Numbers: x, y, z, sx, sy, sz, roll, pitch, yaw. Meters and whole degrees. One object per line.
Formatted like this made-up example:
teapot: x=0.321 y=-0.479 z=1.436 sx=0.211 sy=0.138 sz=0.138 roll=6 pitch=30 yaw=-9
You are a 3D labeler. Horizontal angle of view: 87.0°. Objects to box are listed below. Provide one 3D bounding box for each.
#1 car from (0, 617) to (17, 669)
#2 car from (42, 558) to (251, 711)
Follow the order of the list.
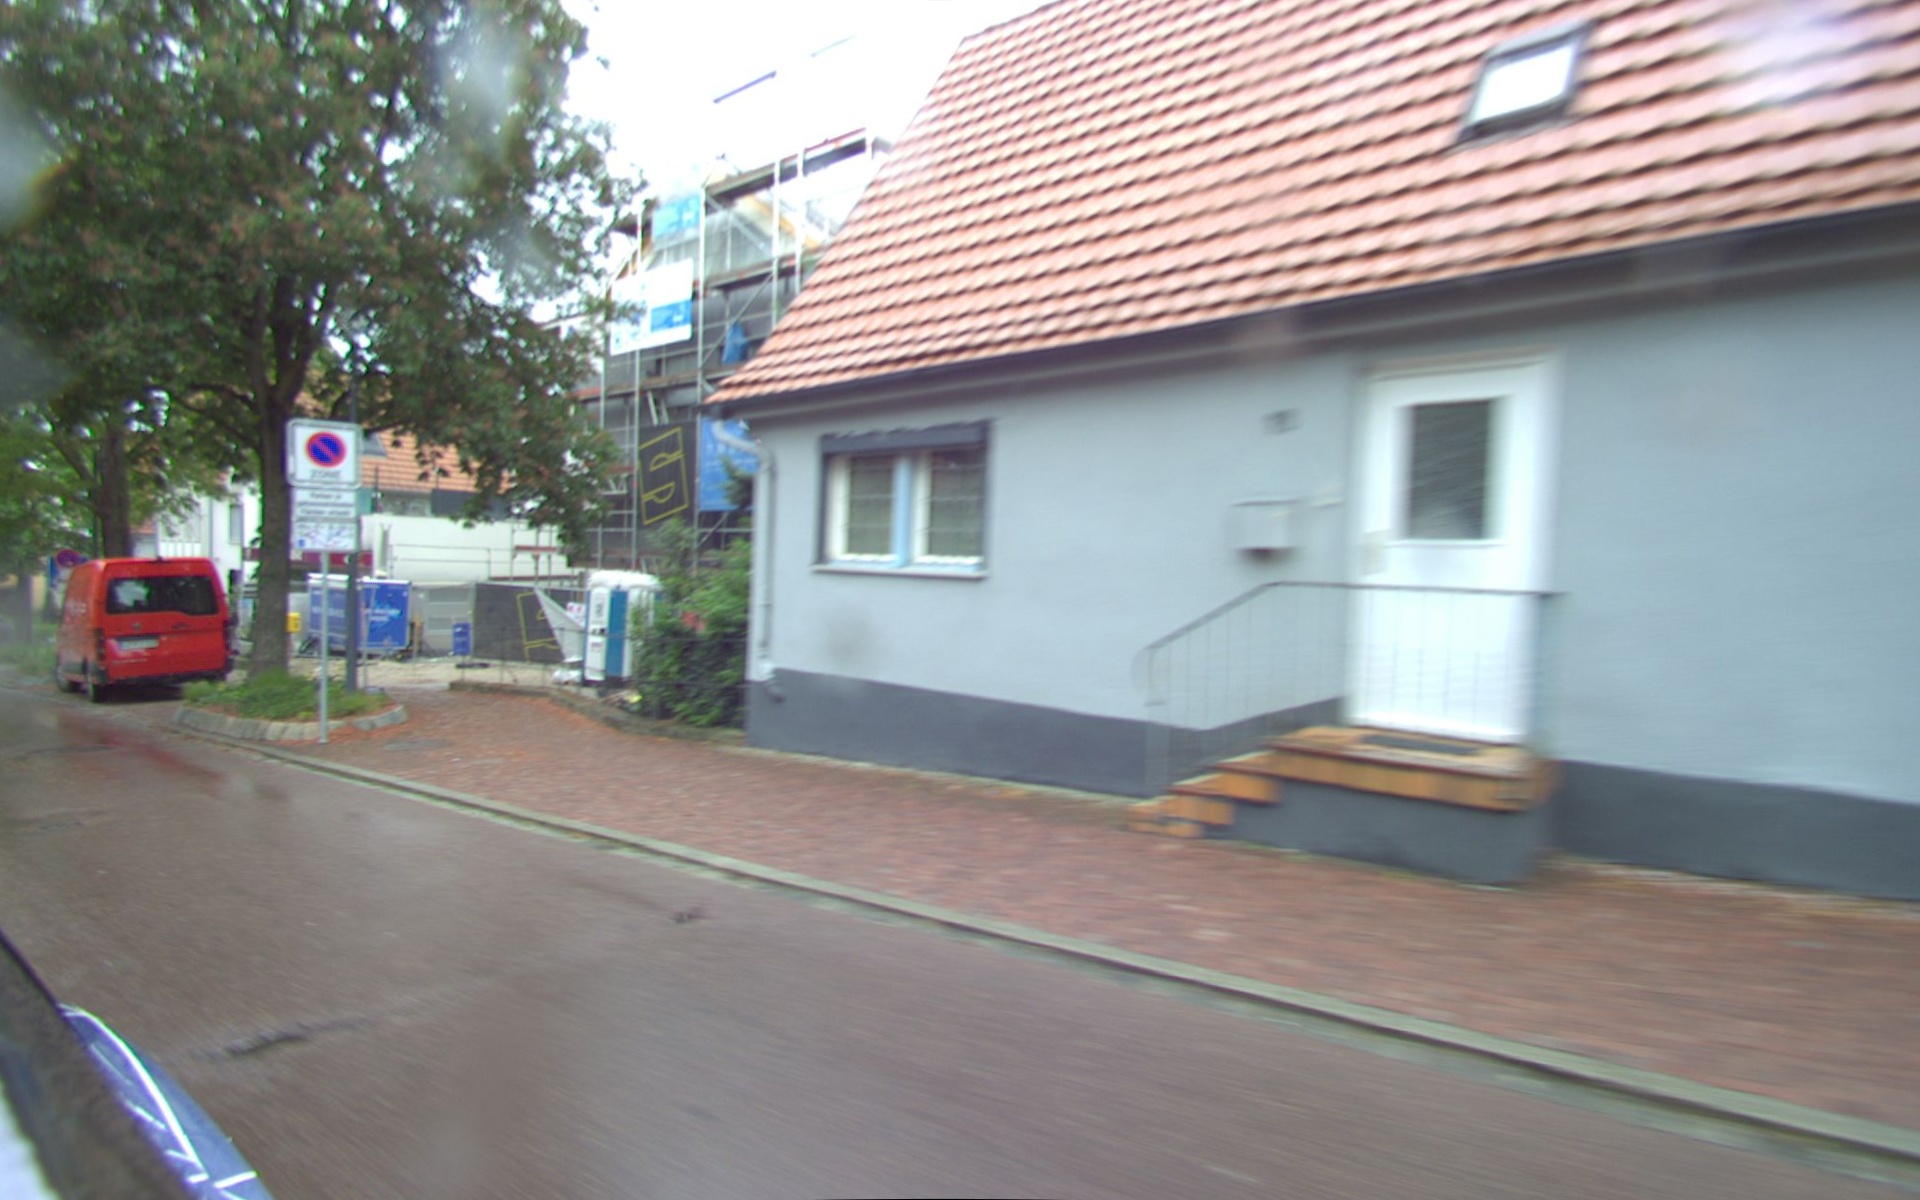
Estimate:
car: x=-31.089 y=1.351 z=31.603 sx=3.994 sy=1.565 sz=1.755 roll=-1 pitch=1 yaw=38
car: x=-15.713 y=0.625 z=19.403 sx=5.784 sy=2.502 sz=2.279 roll=-2 pitch=-1 yaw=43
